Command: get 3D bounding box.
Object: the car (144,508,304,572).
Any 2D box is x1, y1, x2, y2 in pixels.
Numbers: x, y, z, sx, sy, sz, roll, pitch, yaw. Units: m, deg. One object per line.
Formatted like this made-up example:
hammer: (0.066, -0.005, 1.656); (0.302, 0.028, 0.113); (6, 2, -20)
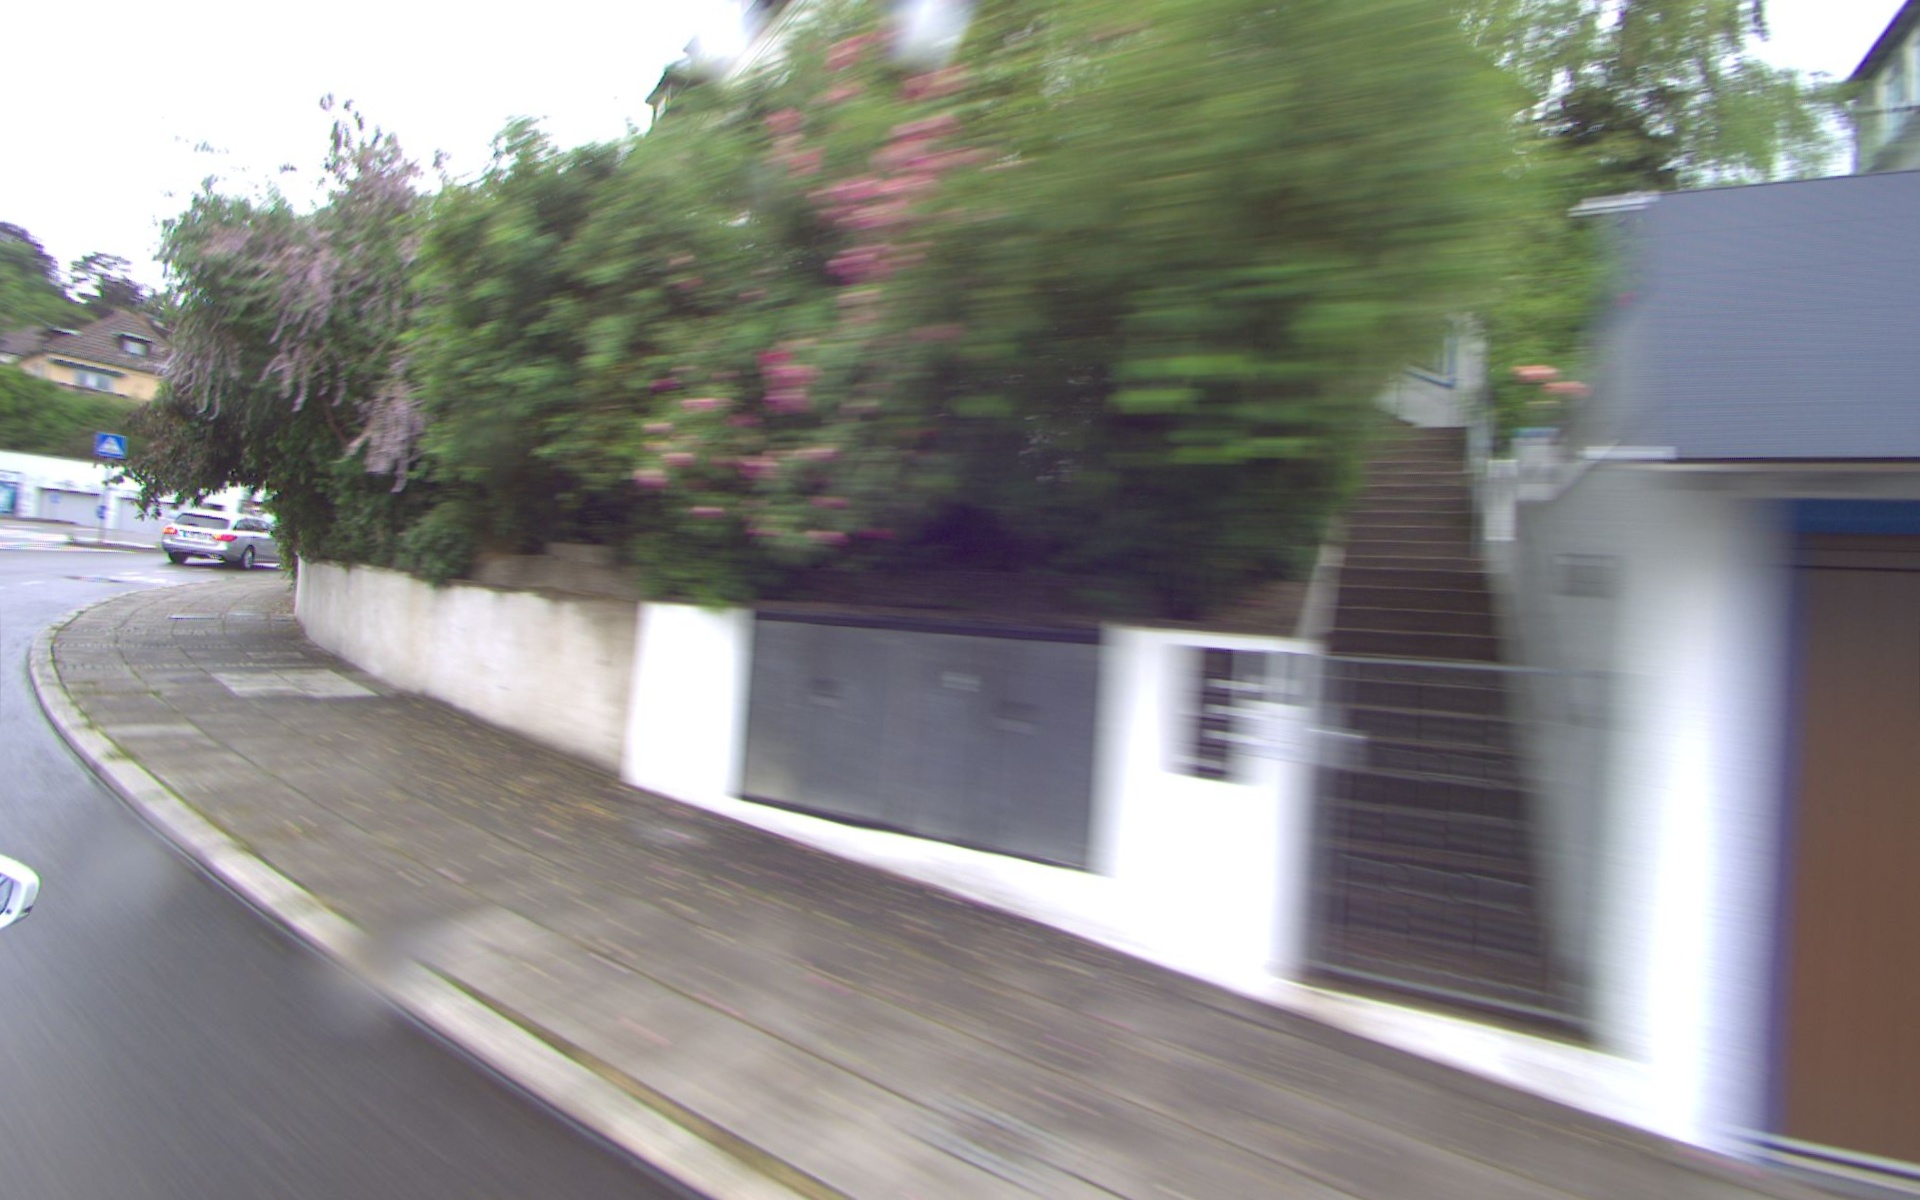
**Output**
car: (-19.961, -1.570, 27.505); (1.786, 1.378, 3.992); (7, 1, -9)
